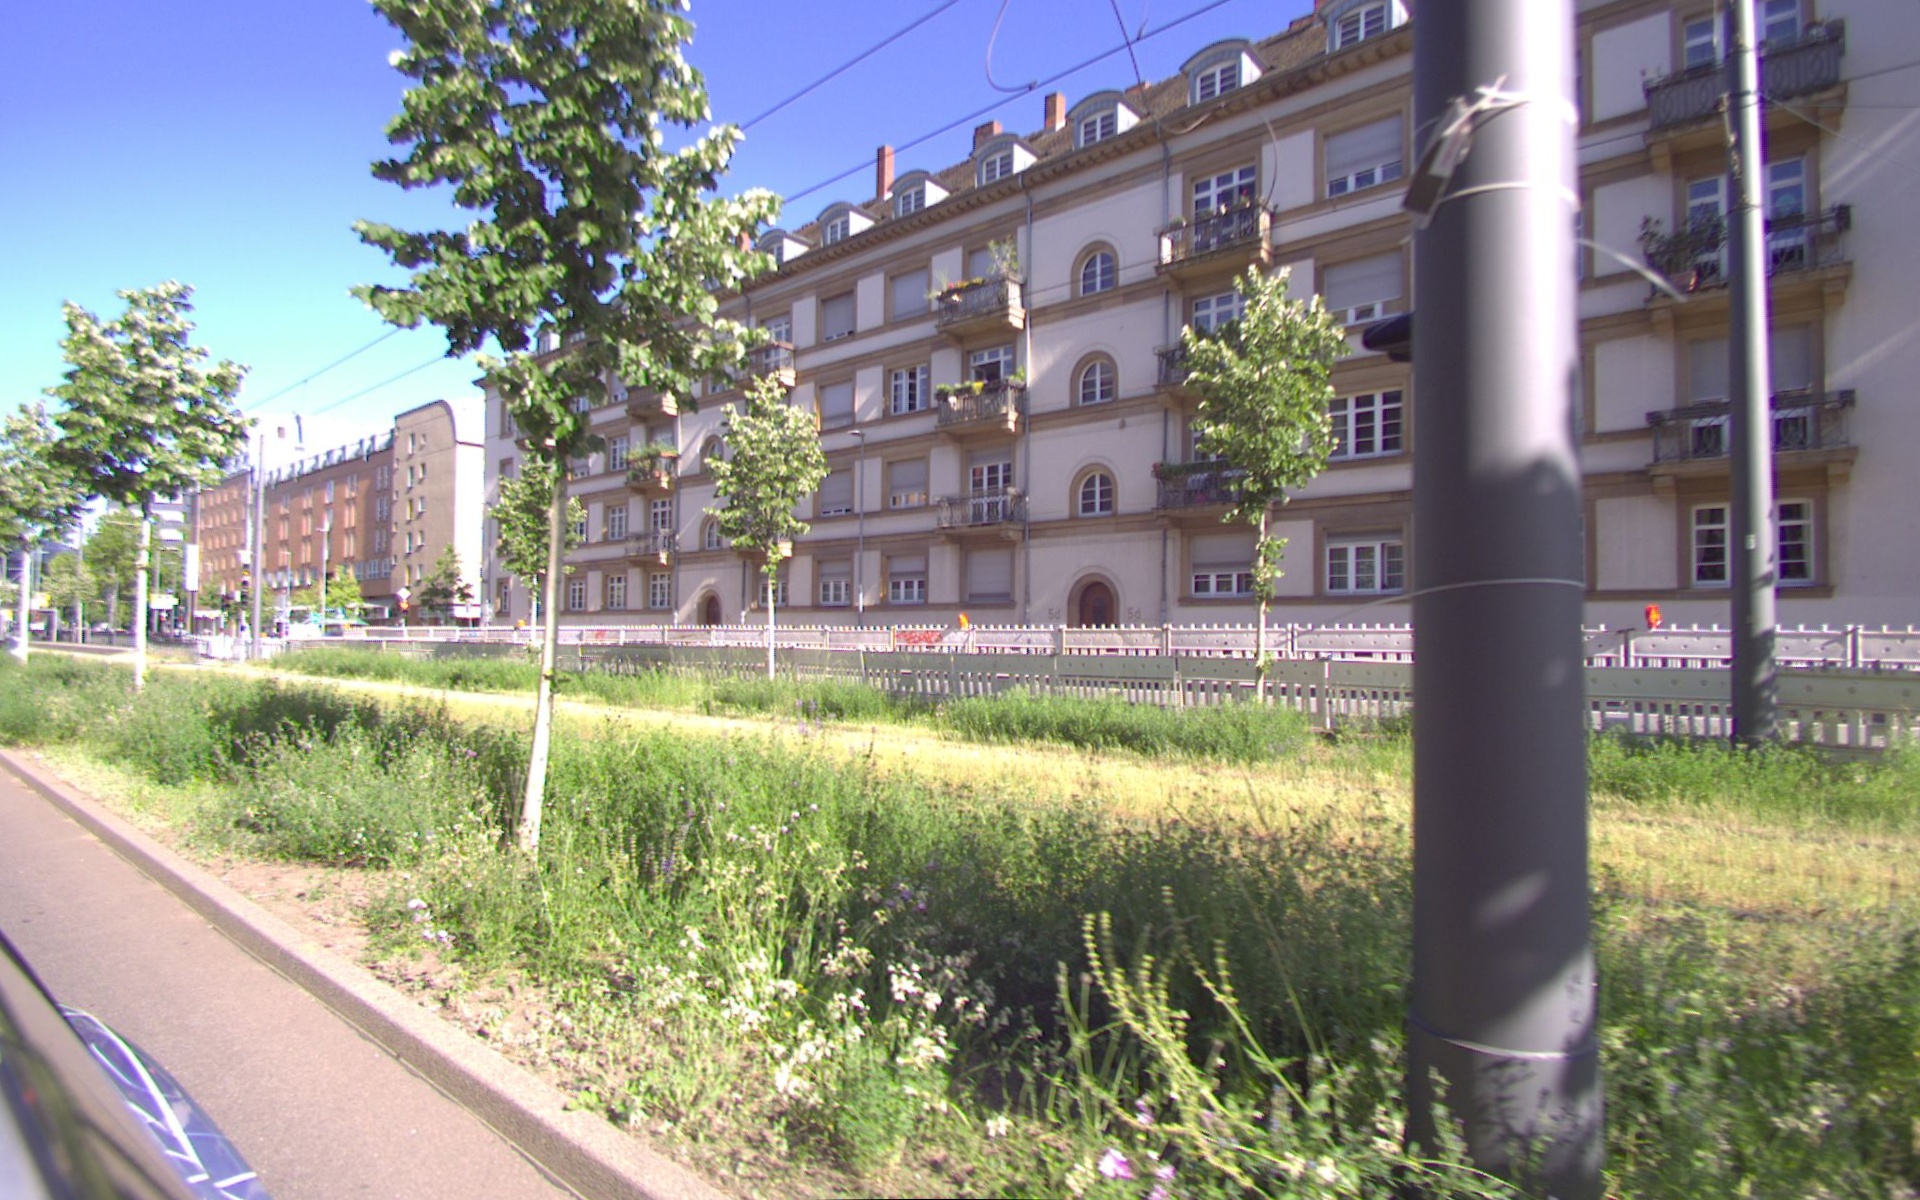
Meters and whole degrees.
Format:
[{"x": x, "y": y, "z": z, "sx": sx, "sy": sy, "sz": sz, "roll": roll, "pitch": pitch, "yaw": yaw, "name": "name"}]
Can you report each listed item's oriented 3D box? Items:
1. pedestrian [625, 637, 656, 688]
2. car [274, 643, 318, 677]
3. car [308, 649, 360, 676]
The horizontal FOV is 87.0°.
[{"x": -12.059, "y": 2.329, "z": 38.151, "sx": 0.871, "sy": 1.877, "sz": 0.758, "roll": -2, "pitch": -2, "yaw": 41, "name": "pedestrian"}, {"x": -48.740, "y": 4.344, "z": 74.229, "sx": 1.969, "sy": 2.314, "sz": 5.196, "roll": 1, "pitch": -2, "yaw": -41, "name": "car"}, {"x": -40.901, "y": 4.075, "z": 66.122, "sx": 3.996, "sy": 1.652, "sz": 1.677, "roll": -1, "pitch": -2, "yaw": 39, "name": "car"}]
